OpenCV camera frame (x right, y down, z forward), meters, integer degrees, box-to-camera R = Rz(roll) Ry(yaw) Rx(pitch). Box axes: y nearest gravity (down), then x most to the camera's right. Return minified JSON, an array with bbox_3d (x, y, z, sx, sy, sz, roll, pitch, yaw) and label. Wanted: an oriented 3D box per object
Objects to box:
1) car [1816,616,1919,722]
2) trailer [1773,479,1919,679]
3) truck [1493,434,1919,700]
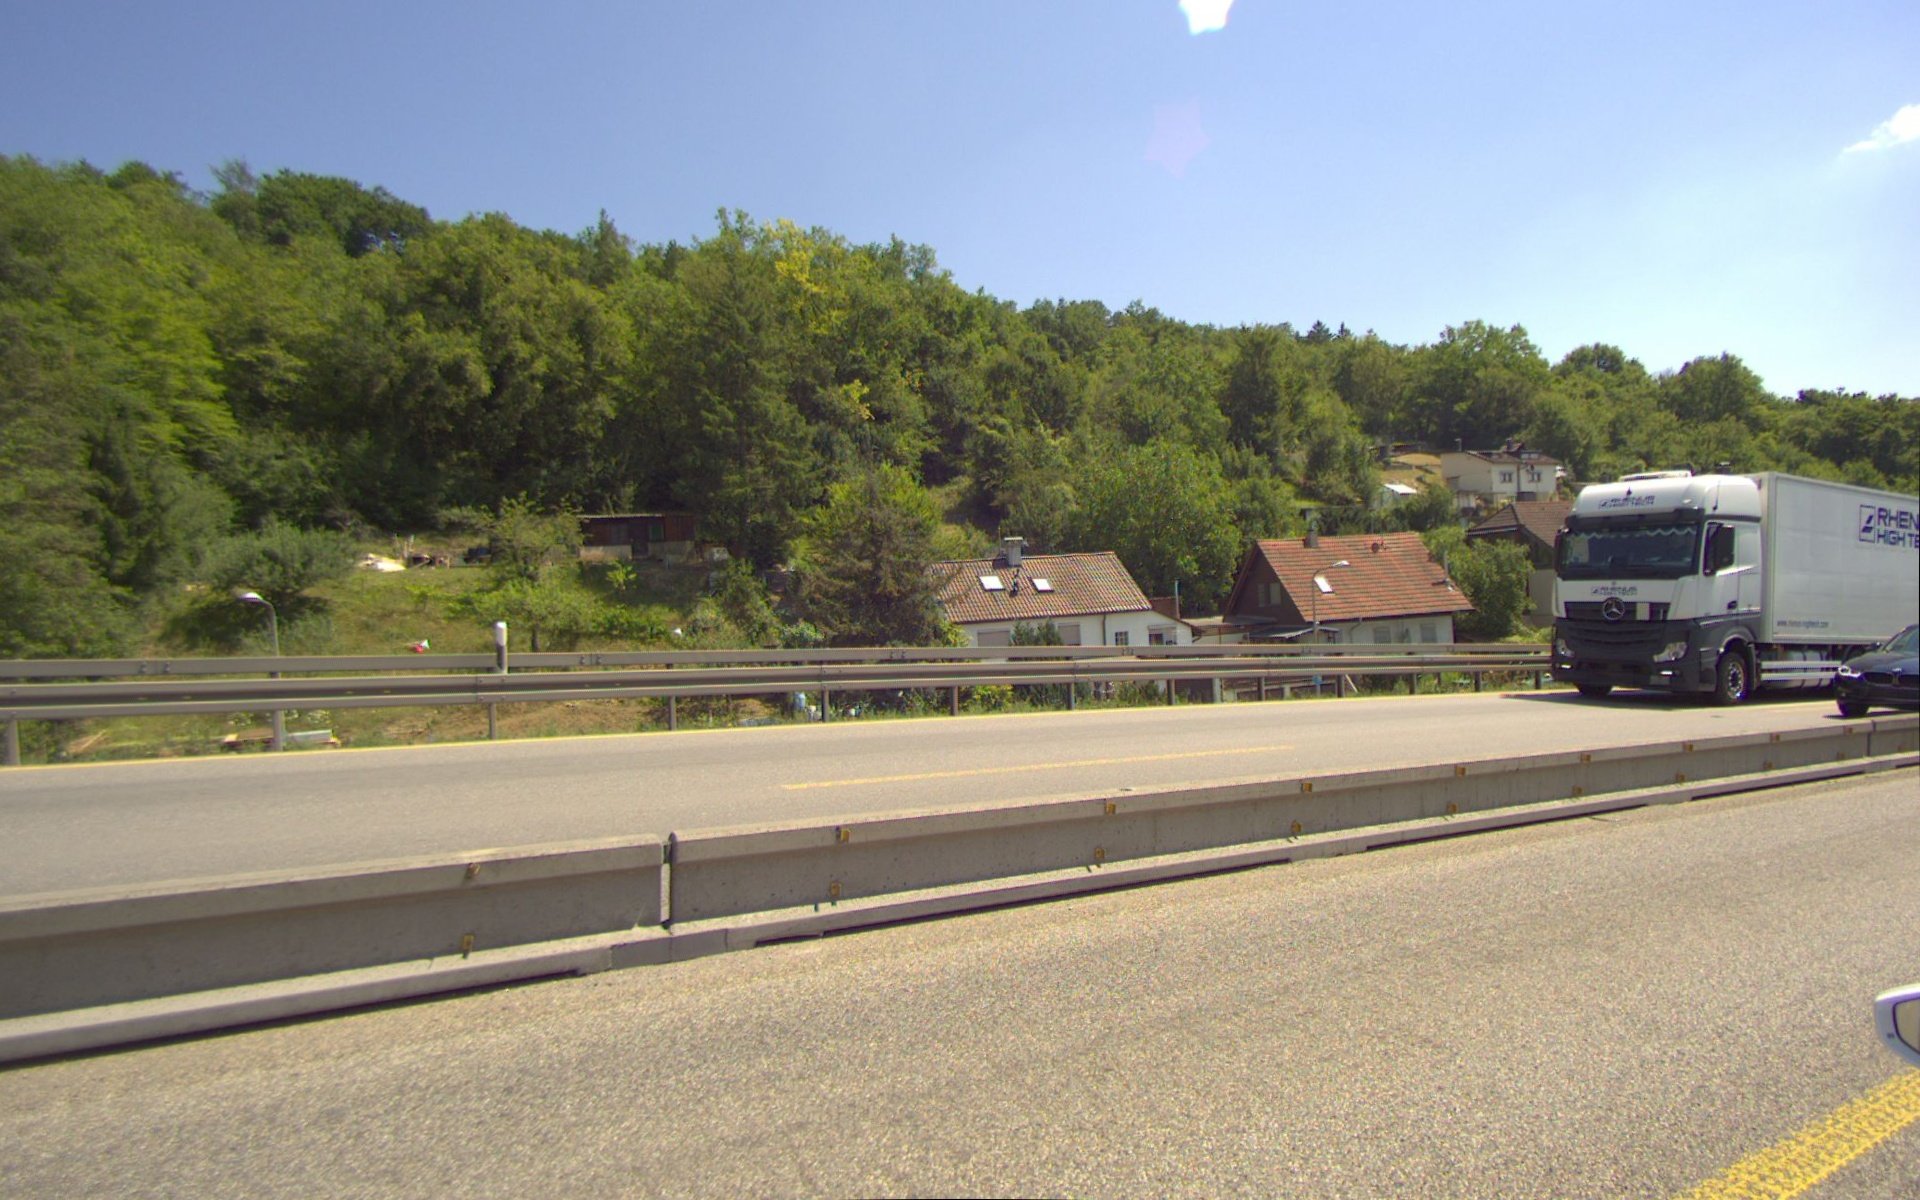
[{"bbox_3d":[15.671,1.031,15.775,4.561,1.498,1.775,1,0,-27],"label":"car"},{"bbox_3d":[23.698,-0.361,24.273,8.901,4.221,2.992,1,0,-27],"label":"trailer"},{"bbox_3d":[15.131,-0.472,19.706,10.412,4.218,2.966,1,0,-28],"label":"truck"}]
